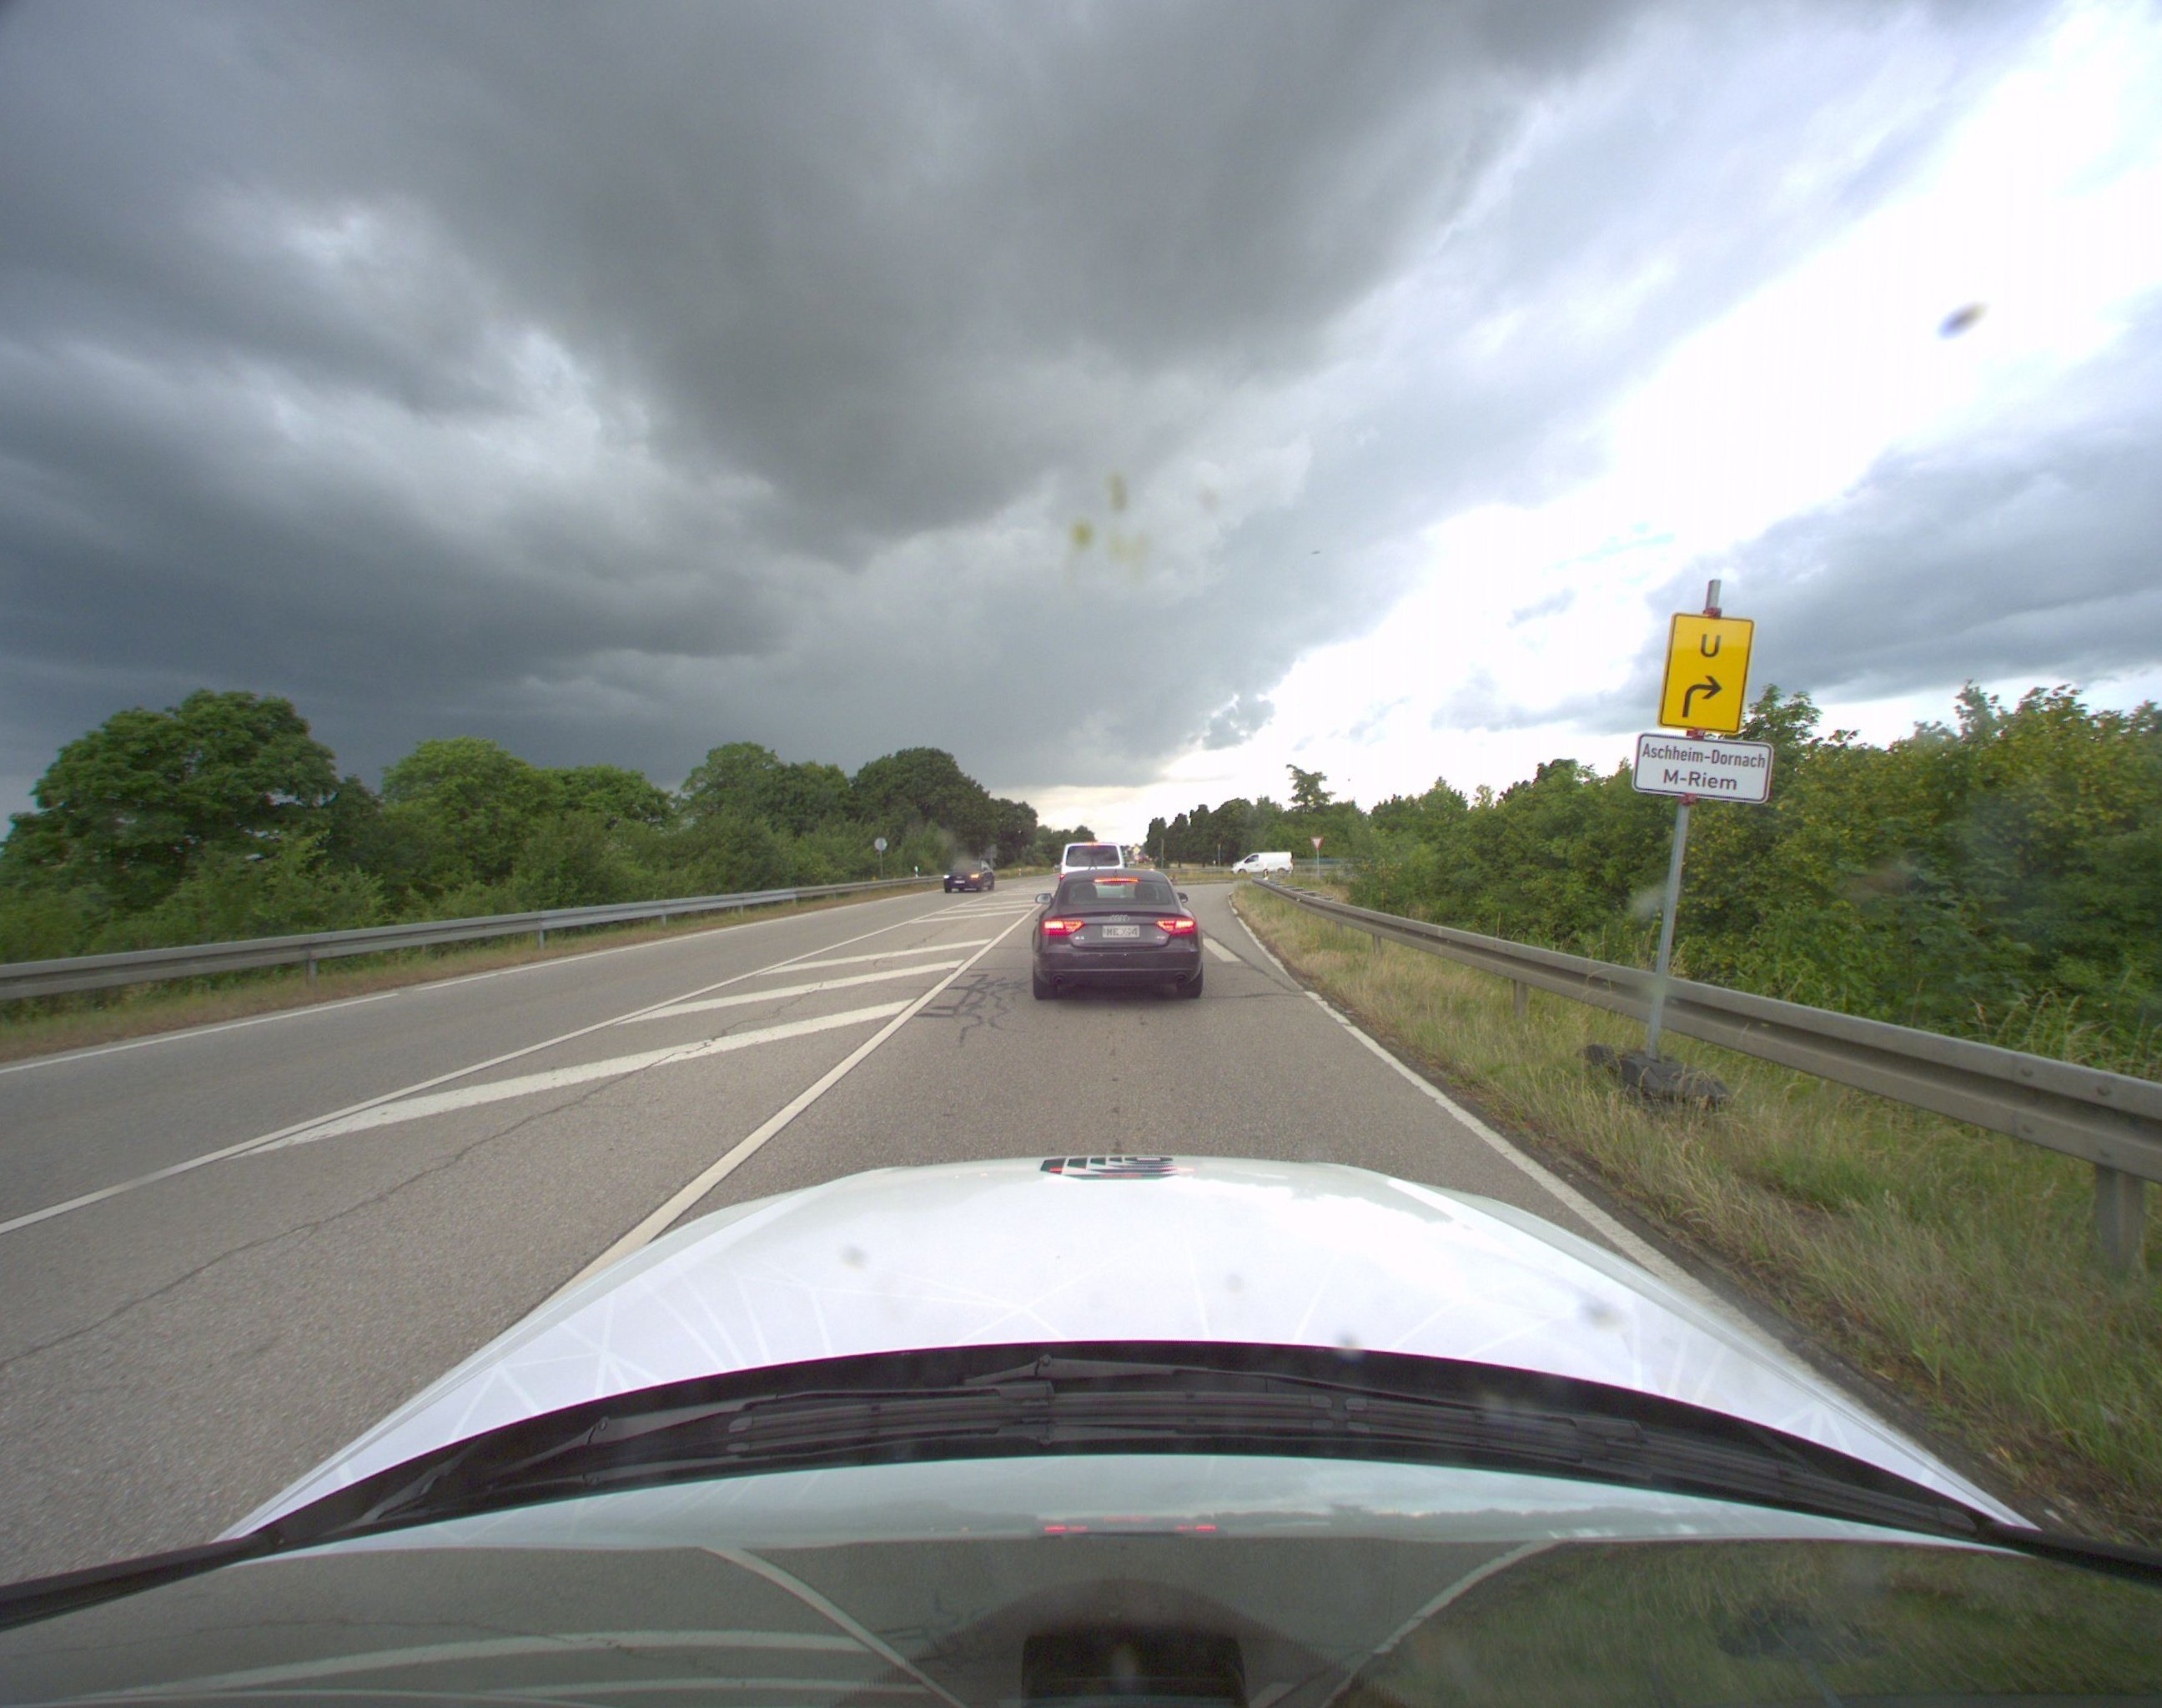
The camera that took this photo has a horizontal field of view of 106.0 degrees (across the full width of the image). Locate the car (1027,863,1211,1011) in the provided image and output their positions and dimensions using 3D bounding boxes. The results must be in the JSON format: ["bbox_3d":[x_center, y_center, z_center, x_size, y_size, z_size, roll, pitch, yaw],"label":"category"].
[{"bbox_3d":[0.379,0.824,9.599,1.774,1.398,3.336,-1,0,0],"label":"car"}]

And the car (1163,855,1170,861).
[{"bbox_3d":[24.923,1.284,238.030,1.866,1.692,4.008,0,0,7],"label":"car"}]

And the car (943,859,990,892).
[{"bbox_3d":[-5.710,1.038,41.169,1.704,1.518,4.210,0,0,1],"label":"car"}]

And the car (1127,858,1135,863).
[{"bbox_3d":[14.373,1.884,234.064,2.198,1.582,4.379,0,0,0],"label":"car"}]

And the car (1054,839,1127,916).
[{"bbox_3d":[0.280,0.626,23.491,1.904,2.013,4.000,0,0,0],"label":"car"}]

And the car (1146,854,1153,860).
[{"bbox_3d":[20.511,0.967,245.127,1.985,1.692,4.004,0,0,3],"label":"car"}]

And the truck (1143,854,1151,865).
[{"bbox_3d":[18.331,1.428,226.925,1.985,2.918,5.799,0,0,4],"label":"truck"}]

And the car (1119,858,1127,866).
[{"bbox_3d":[11.043,2.055,213.640,1.985,2.013,4.003,0,0,3],"label":"car"}]

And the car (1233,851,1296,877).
[{"bbox_3d":[14.765,0.812,65.397,4.824,2.064,2.096,0,0,15],"label":"car"}]
